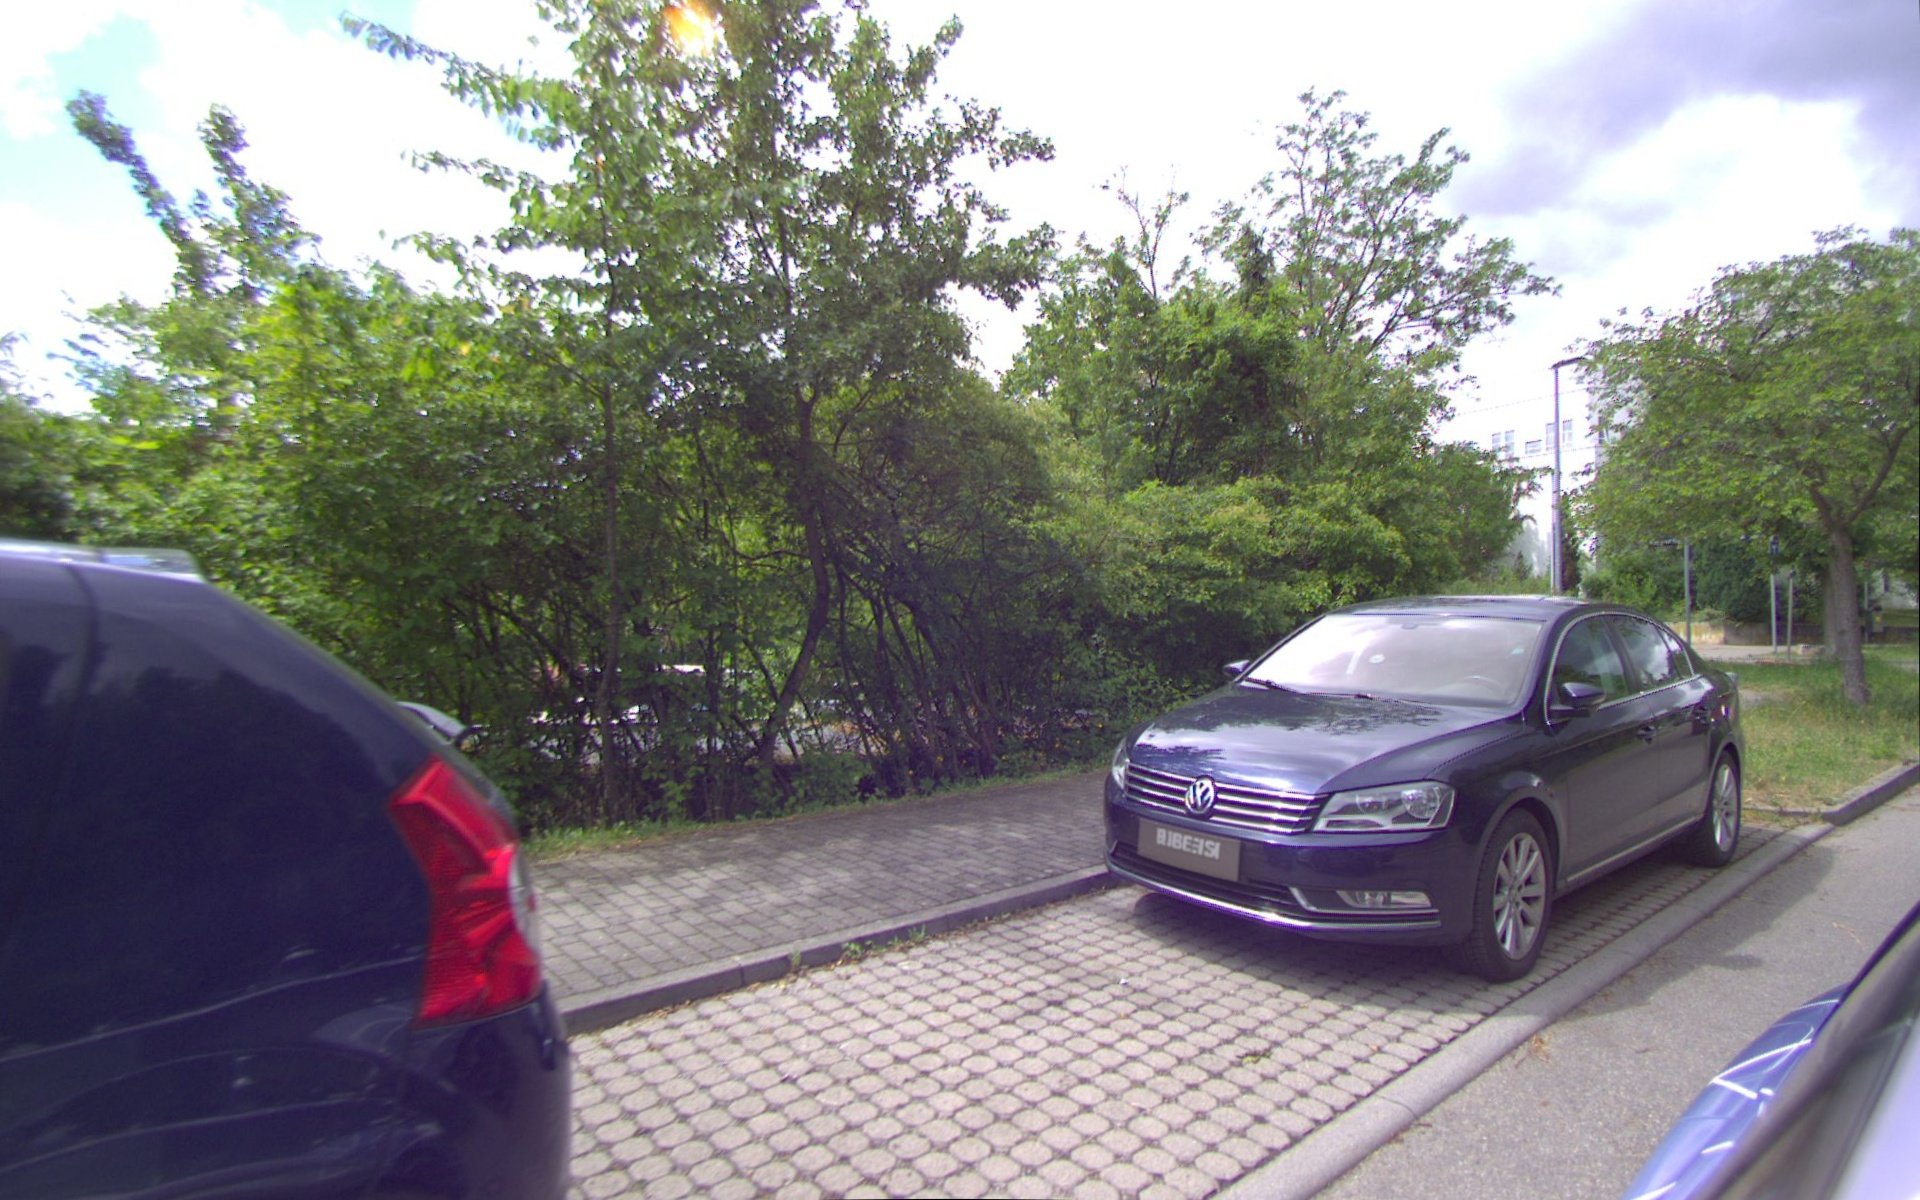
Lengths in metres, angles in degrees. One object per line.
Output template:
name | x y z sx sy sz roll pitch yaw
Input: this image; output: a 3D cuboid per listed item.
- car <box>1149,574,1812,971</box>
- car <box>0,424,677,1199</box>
car | 3.165 0.630 5.747 4.255 1.452 1.780 0 0 -39
car | -2.400 0.594 0.851 3.824 1.538 1.731 -1 2 -43
